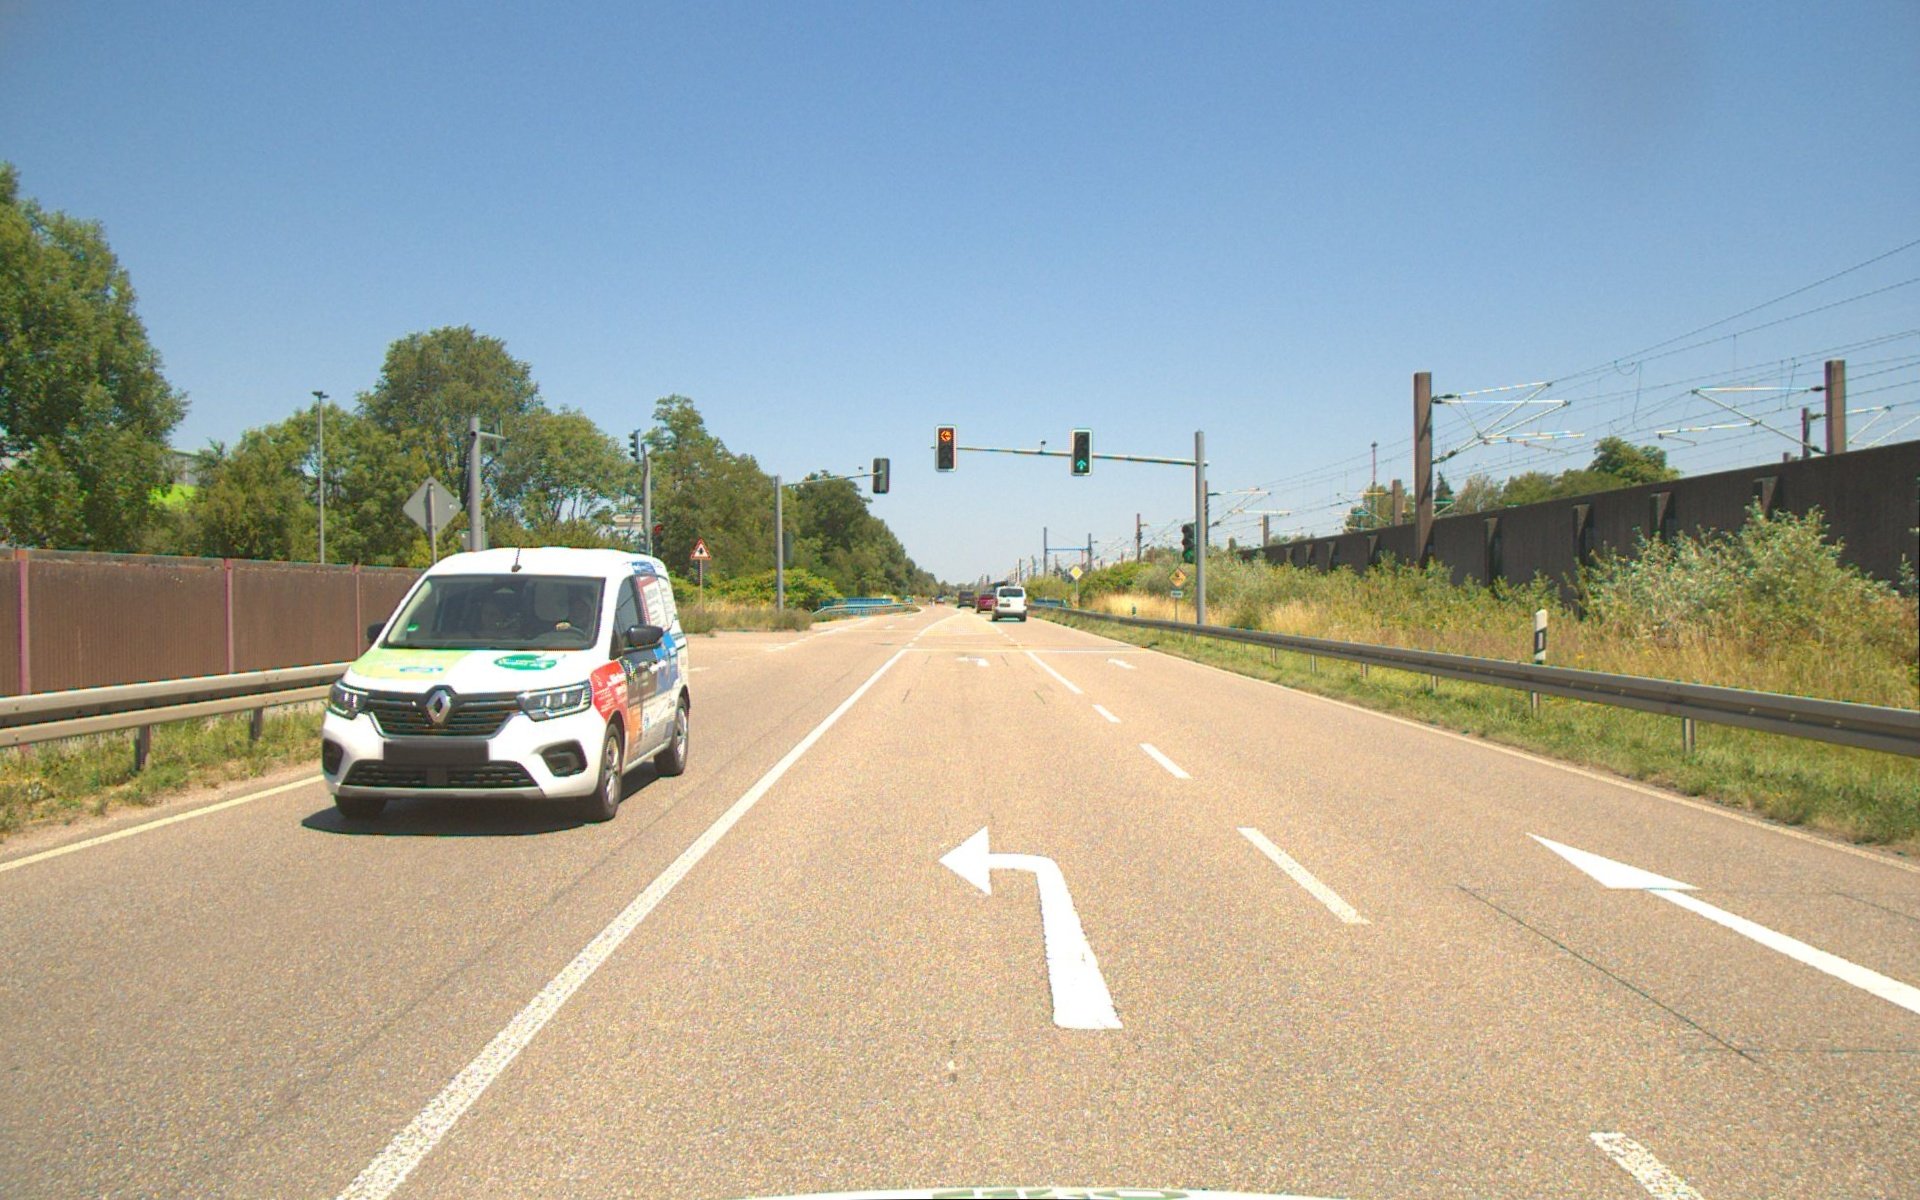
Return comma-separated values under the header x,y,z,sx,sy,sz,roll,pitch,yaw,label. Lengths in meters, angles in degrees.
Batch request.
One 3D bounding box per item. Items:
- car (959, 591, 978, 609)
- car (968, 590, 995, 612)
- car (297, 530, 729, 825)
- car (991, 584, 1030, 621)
x,y,z,sx,sy,sz,roll,pitch,yaw,label
0.971,-0.025,191.627,2.111,2.002,4.541,0,0,-2,car
1.727,0.083,135.512,1.979,1.756,4.541,0,0,-2,car
-3.043,0.457,12.413,1.848,1.770,4.777,1,0,1,car
2.836,0.105,93.963,1.953,2.018,4.059,1,0,-1,car
